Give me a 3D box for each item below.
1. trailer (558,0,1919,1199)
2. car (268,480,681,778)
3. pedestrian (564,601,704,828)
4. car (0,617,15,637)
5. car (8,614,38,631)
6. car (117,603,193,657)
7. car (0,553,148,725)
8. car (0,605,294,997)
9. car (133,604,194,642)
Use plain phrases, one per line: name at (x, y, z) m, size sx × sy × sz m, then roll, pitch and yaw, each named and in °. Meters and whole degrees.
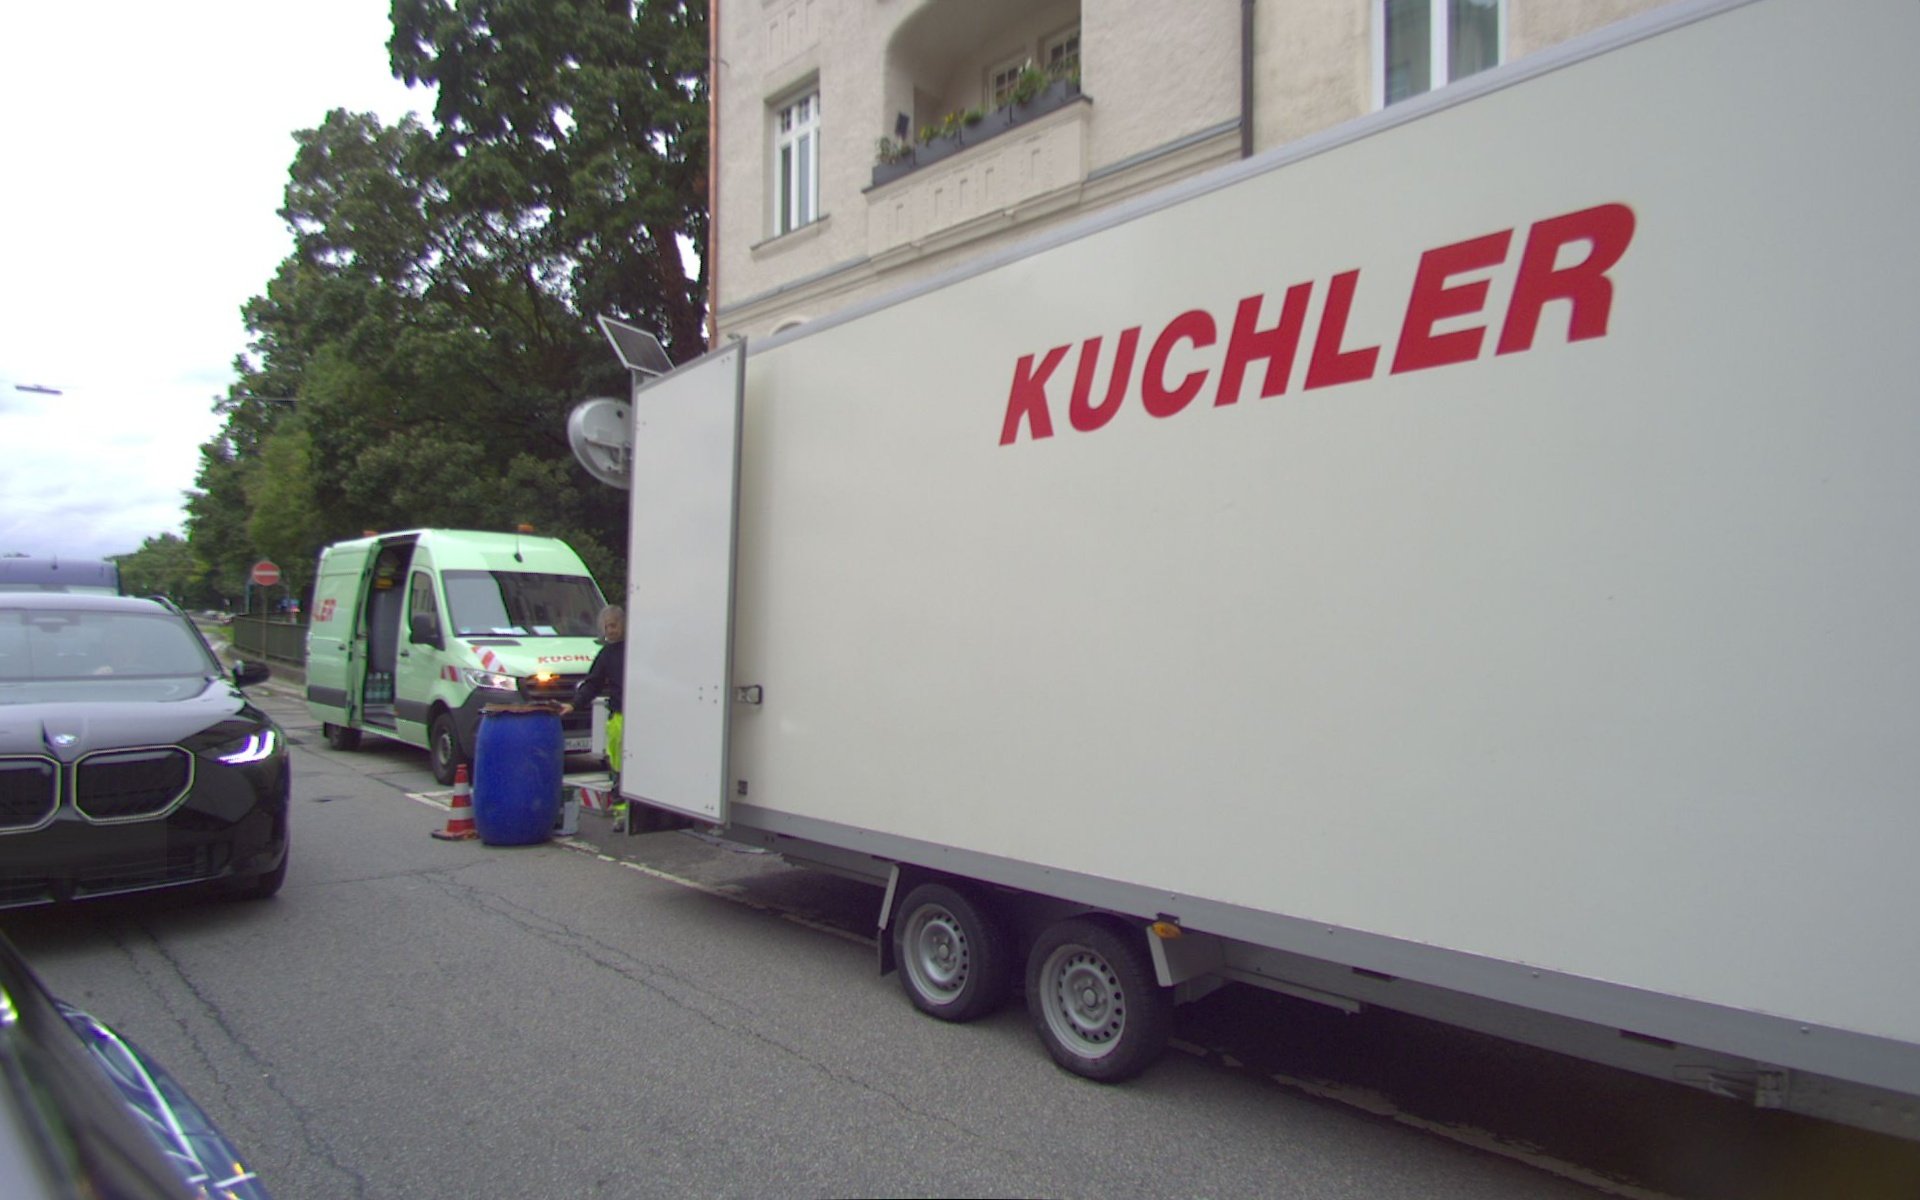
trailer at (1.484, 0.086, 3.949) m, size 2.771 × 2.992 × 7.603 m, roll 6°, pitch -6°, yaw -45°
car at (-6.038, 0.313, 11.923) m, size 6.795 × 2.592 × 2.117 m, roll -1°, pitch -2°, yaw 44°
pedestrian at (-2.435, 0.814, 7.611) m, size 0.633 × 1.592 × 0.757 m, roll 0°, pitch -2°, yaw 26°
car at (-69.793, 1.903, 73.285) m, size 1.810 × 1.409 × 4.006 m, roll 3°, pitch -3°, yaw -41°
car at (-83.769, 2.003, 90.515) m, size 1.810 × 1.409 × 4.006 m, roll 3°, pitch -3°, yaw -41°
car at (-27.283, 1.011, 34.323) m, size 1.790 × 1.601 × 4.172 m, roll 7°, pitch -5°, yaw -38°
car at (-15.566, 0.568, 17.530) m, size 1.974 × 2.510 × 6.248 m, roll 1°, pitch 0°, yaw -36°
car at (-5.262, 0.822, 5.739) m, size 1.893 × 1.577 × 4.300 m, roll 2°, pitch -2°, yaw -41°
car at (-34.516, 0.999, 43.937) m, size 1.789 × 1.474 × 4.174 m, roll 7°, pitch -5°, yaw -36°
